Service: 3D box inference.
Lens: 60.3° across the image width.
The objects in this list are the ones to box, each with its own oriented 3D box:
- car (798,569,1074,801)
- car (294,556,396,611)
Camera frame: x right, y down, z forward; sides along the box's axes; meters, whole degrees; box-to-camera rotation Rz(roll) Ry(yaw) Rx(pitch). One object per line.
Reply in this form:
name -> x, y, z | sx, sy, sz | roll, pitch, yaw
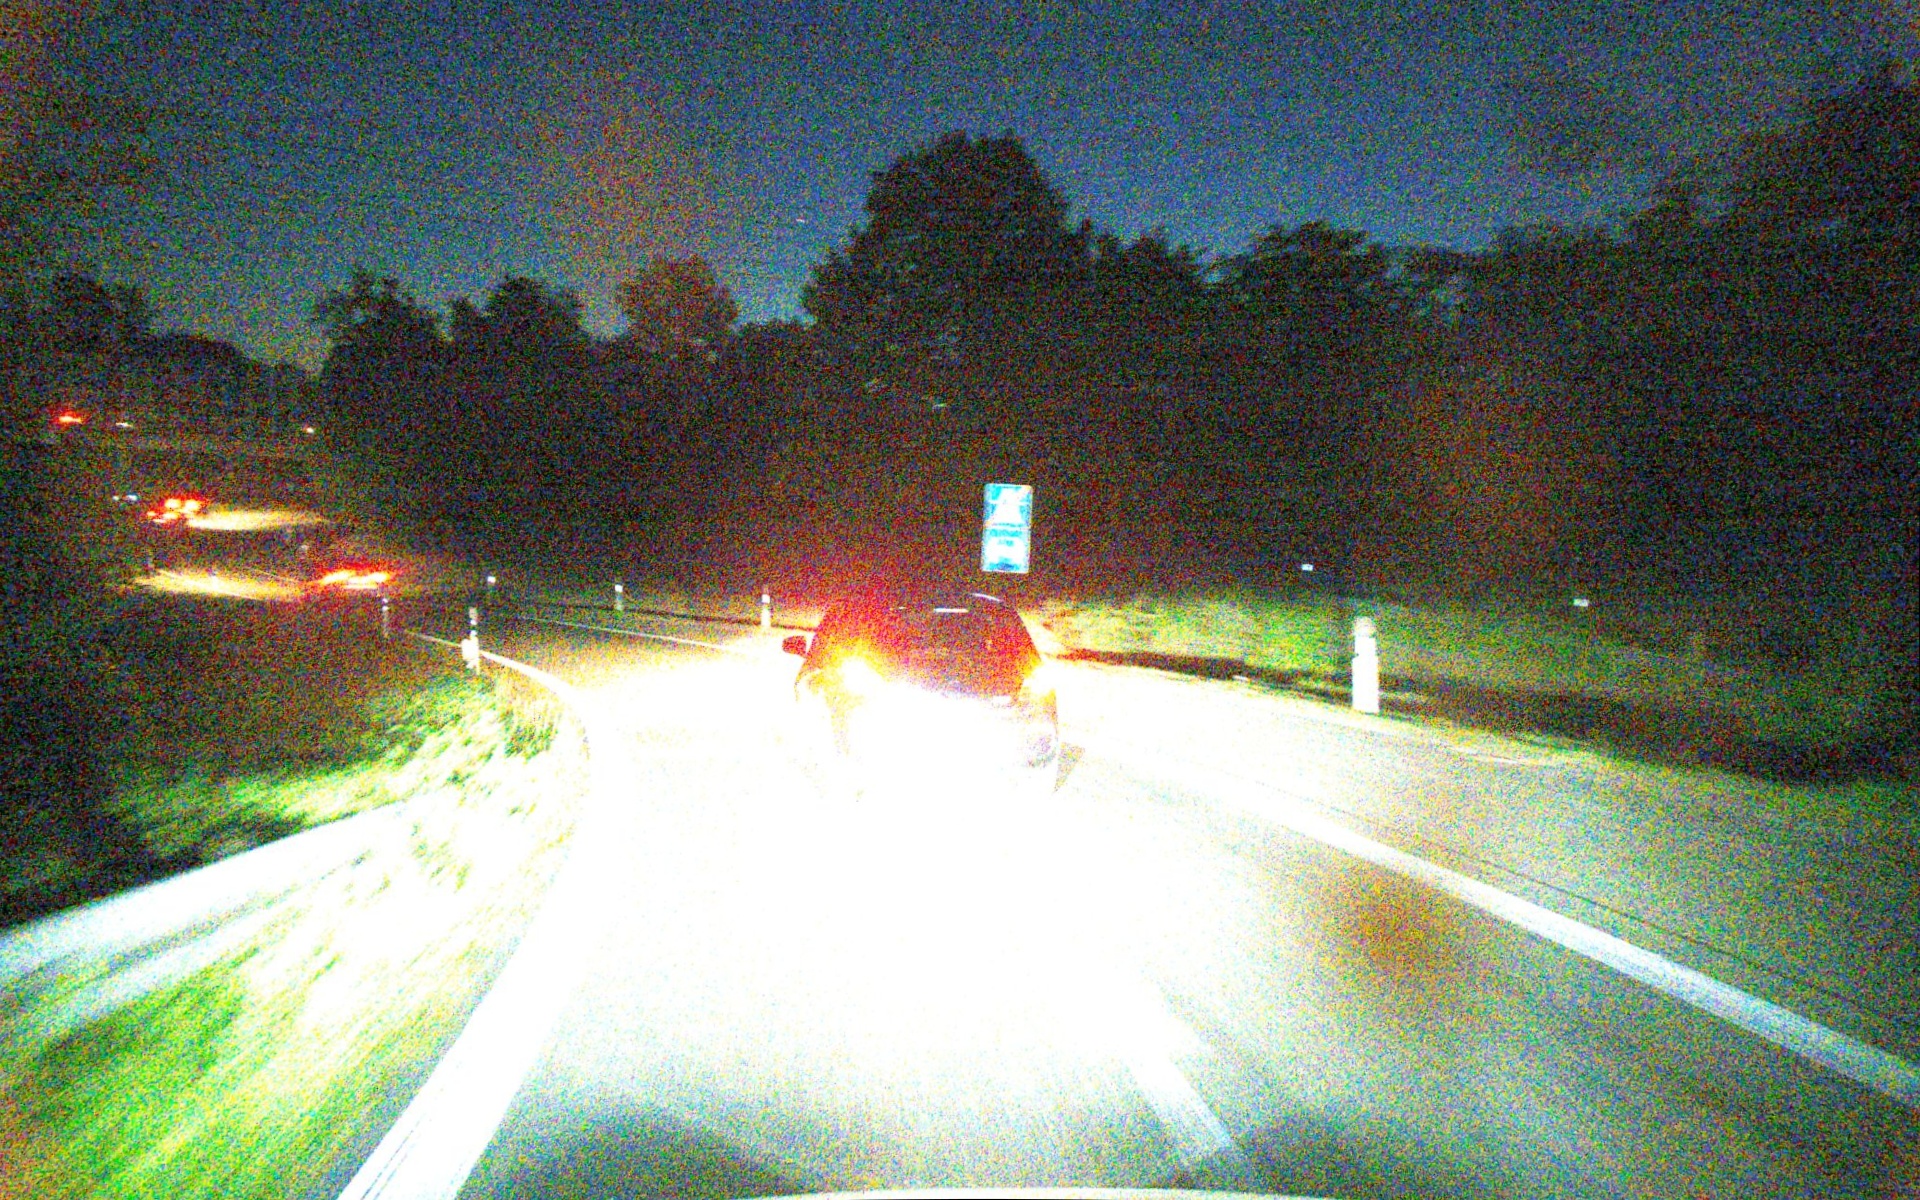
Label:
car -> -0.337, 0.617, 12.833 | 1.659, 1.504, 3.992 | 0, -2, -8
car -> -19.303, -0.553, 51.819 | 1.937, 1.564, 4.187 | -2, 3, -36
